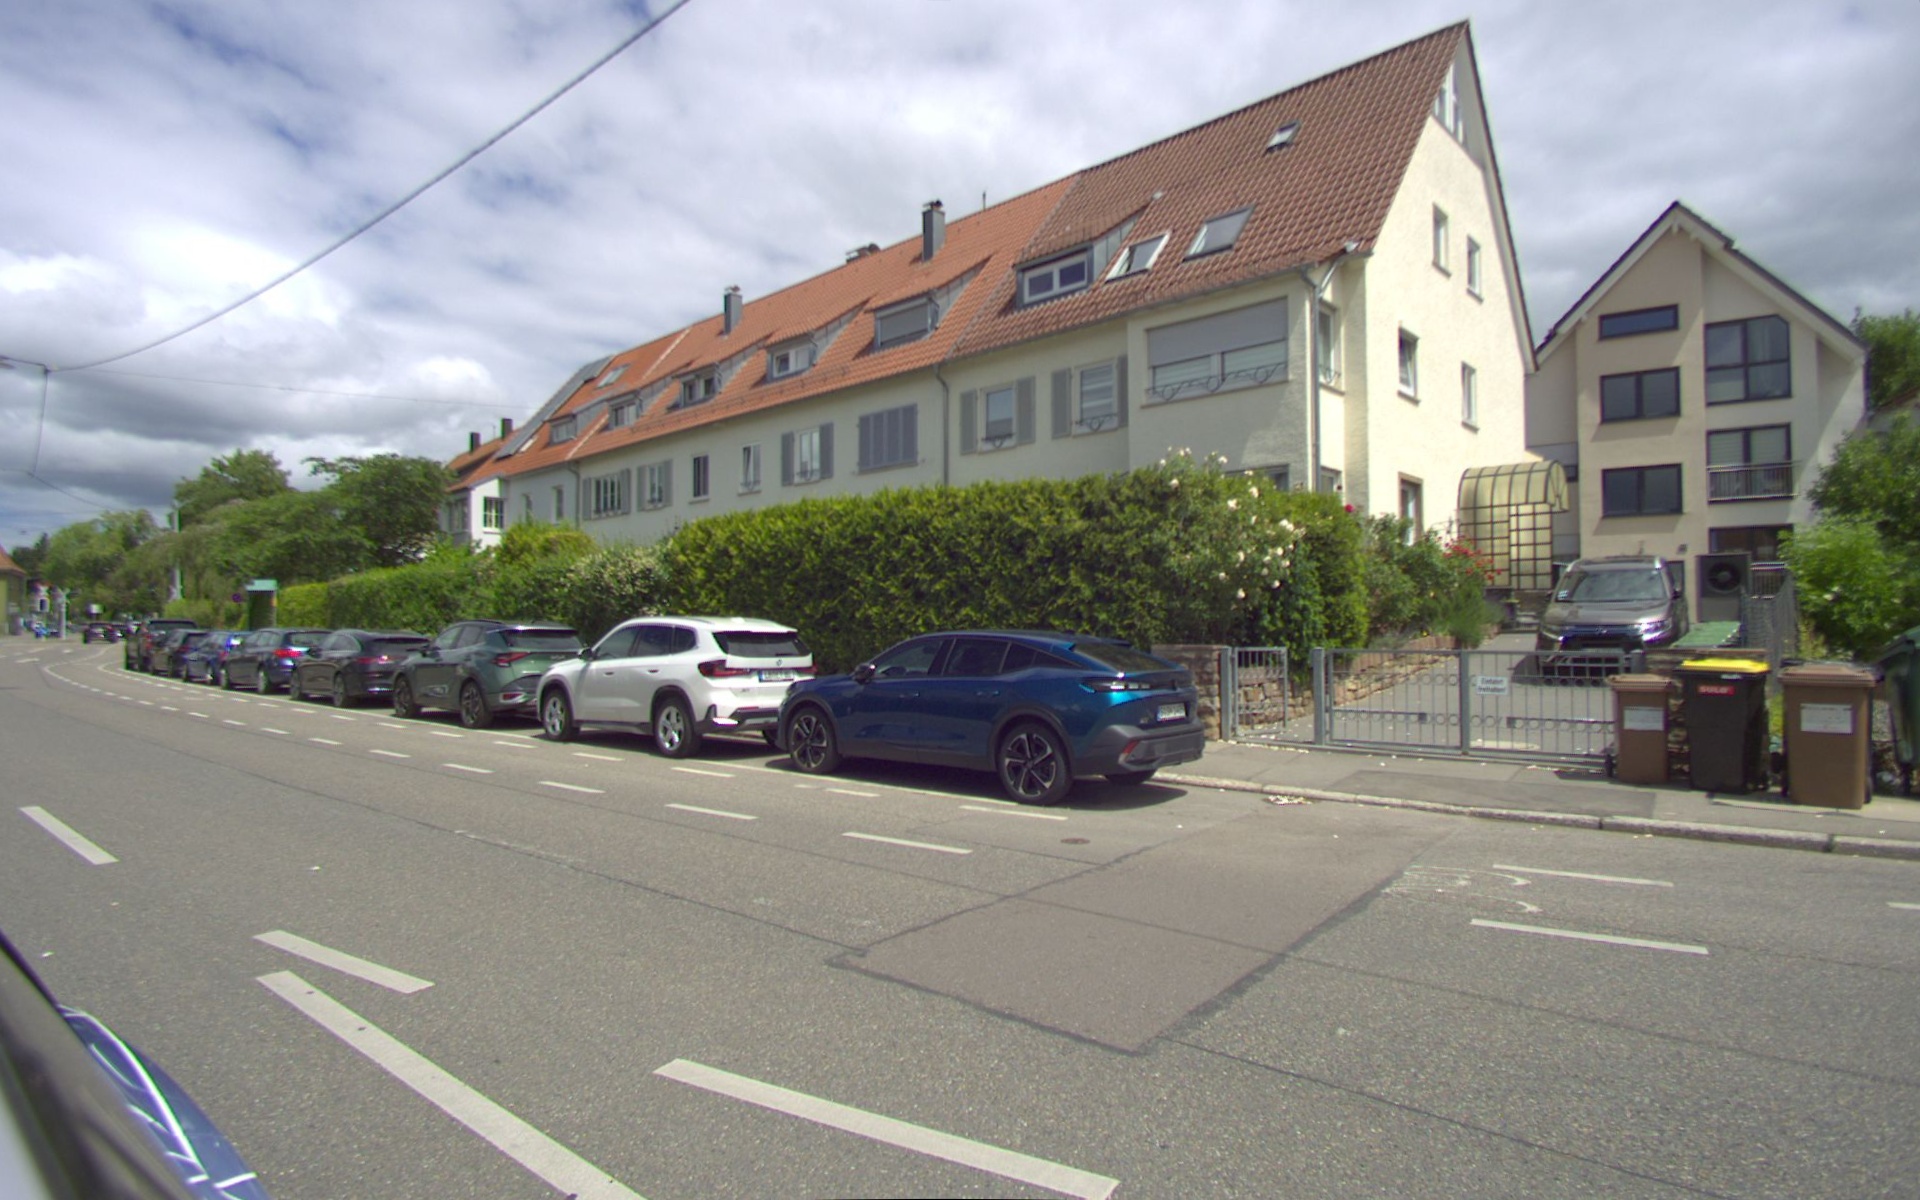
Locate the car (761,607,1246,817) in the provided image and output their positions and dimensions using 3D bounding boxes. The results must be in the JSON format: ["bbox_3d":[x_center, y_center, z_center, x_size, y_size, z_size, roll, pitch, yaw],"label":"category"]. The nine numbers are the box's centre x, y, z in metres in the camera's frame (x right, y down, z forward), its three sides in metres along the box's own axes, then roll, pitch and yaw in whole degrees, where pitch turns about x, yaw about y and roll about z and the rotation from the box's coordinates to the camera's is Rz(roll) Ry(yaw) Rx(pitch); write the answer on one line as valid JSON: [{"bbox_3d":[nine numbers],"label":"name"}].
[{"bbox_3d":[0.270,0.914,9.930,4.484,1.599,1.974,-1,-2,39],"label":"car"}]

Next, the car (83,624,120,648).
[{"bbox_3d":[-64.535,2.704,76.146,1.892,1.661,4.301,6,-5,-39],"label":"car"}]

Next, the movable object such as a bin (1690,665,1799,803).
[{"bbox_3d":[6.388,1.061,8.240,0.658,1.032,0.589,-2,-2,41],"label":"movable object such as a bin"}]

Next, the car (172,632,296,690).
[{"bbox_3d":[-19.638,1.592,27.314,4.438,1.428,1.759,-1,-2,42],"label":"car"}]

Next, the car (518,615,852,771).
[{"bbox_3d":[-3.653,1.050,13.029,4.515,1.663,1.973,-1,-2,41],"label":"car"}]

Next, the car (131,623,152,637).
[{"bbox_3d":[-91.978,3.351,113.694,1.824,1.587,4.166,0,-1,-39],"label":"car"}]

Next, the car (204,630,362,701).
[{"bbox_3d":[-15.926,1.457,23.728,4.560,1.503,1.760,-1,-2,39],"label":"car"}]

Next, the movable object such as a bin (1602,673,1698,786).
[{"bbox_3d":[5.988,1.101,8.781,0.614,0.886,0.589,-2,-2,41],"label":"movable object such as a bin"}]

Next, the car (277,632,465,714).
[{"bbox_3d":[-11.824,1.363,20.184,4.689,1.419,1.972,-1,-2,43],"label":"car"}]

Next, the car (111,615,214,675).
[{"bbox_3d":[-27.535,1.536,34.887,5.404,1.909,1.971,-1,-4,44],"label":"car"}]

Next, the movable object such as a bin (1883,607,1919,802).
[{"bbox_3d":[8.087,0.802,7.888,1.213,1.493,1.055,-1,-2,39],"label":"movable object such as a bin"}]

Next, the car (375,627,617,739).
[{"bbox_3d":[-7.720,1.232,16.617,4.689,1.576,1.972,-1,-2,43],"label":"car"}]

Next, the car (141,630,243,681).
[{"bbox_3d":[-23.466,1.650,30.864,4.339,1.428,1.758,-1,-2,43],"label":"car"}]

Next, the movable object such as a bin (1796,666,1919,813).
[{"bbox_3d":[6.757,1.020,7.642,0.658,1.015,0.589,-2,-2,41],"label":"movable object such as a bin"}]

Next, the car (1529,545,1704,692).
[{"bbox_3d":[10.262,0.184,15.682,1.802,1.718,3.949,-2,5,40],"label":"car"}]
